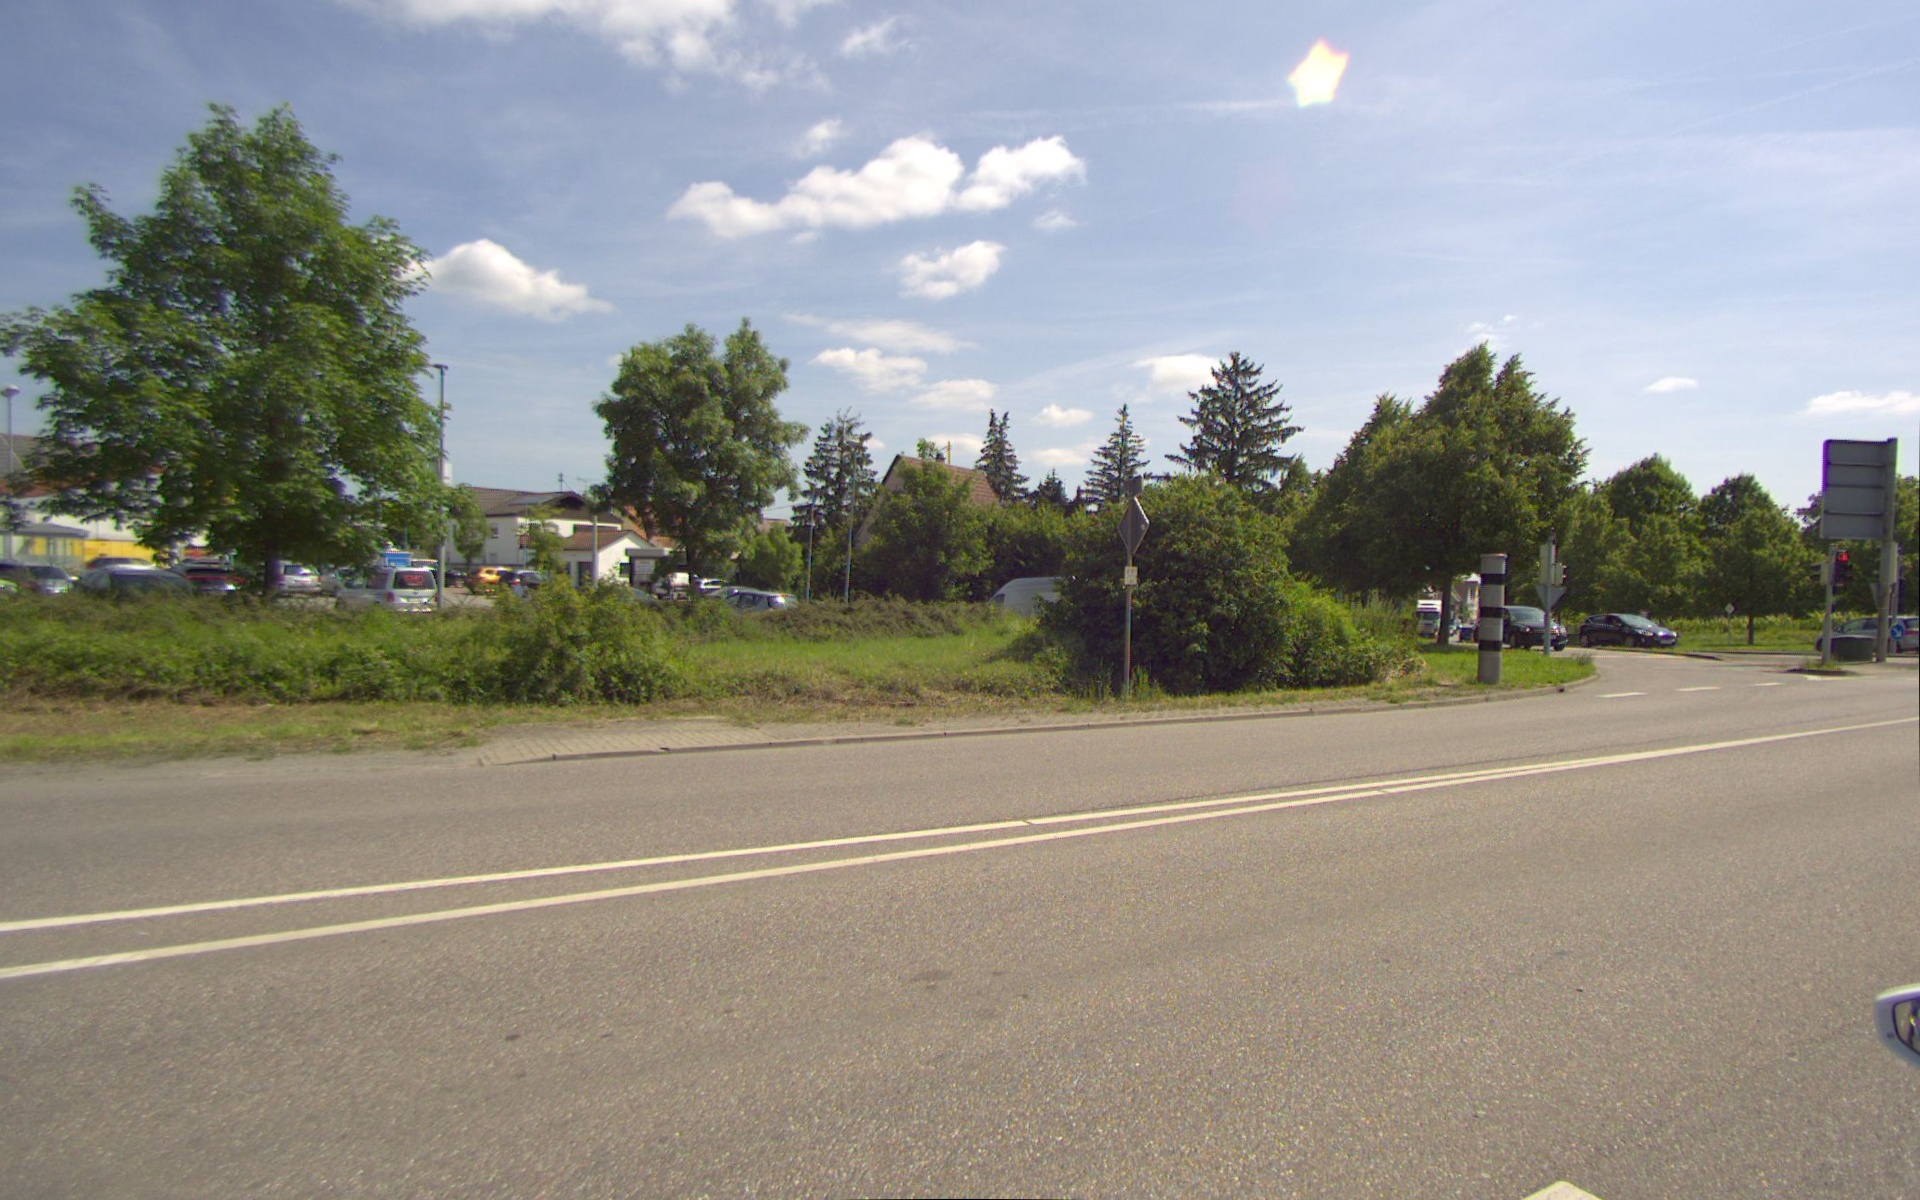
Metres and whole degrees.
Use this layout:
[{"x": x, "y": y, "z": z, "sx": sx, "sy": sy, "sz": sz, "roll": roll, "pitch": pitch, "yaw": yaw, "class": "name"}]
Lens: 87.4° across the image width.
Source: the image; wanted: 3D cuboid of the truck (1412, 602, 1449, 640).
[{"x": 50.581, "y": 2.215, "z": 107.798, "sx": 2.894, "sy": 3.848, "sz": 7.913, "roll": 2, "pitch": 0, "yaw": 30, "class": "truck"}]

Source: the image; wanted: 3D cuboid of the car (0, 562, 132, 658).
[{"x": -17.537, "y": 0.158, "z": 19.465, "sx": 3.941, "sy": 1.679, "sz": 1.686, "roll": 2, "pitch": 0, "yaw": 42, "class": "car"}]

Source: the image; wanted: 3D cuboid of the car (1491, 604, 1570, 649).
[{"x": 21.931, "y": 0.985, "z": 38.764, "sx": 1.774, "sy": 1.619, "sz": 4.270, "roll": 0, "pitch": -1, "yaw": 18, "class": "car"}]

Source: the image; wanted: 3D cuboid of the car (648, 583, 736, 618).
[{"x": -13.565, "y": 0.052, "z": 51.026, "sx": 1.883, "sy": 1.662, "sz": 3.984, "roll": 2, "pitch": 0, "yaw": 38, "class": "car"}]

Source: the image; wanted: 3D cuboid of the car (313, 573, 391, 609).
[{"x": -28.991, "y": -0.439, "z": 47.827, "sx": 4.193, "sy": 1.562, "sz": 1.871, "roll": 2, "pitch": 0, "yaw": 40, "class": "car"}]

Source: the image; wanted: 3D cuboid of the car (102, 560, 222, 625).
[{"x": -22.828, "y": -0.216, "z": 28.686, "sx": 3.939, "sy": 1.711, "sz": 1.918, "roll": 2, "pitch": 0, "yaw": 40, "class": "car"}]

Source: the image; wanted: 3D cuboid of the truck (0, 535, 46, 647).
[{"x": -22.991, "y": -0.237, "z": 20.335, "sx": 2.213, "sy": 2.407, "sz": 6.327, "roll": 1, "pitch": 0, "yaw": 36, "class": "truck"}]

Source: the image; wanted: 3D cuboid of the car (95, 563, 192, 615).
[{"x": -26.491, "y": -0.358, "z": 32.563, "sx": 3.941, "sy": 1.549, "sz": 1.770, "roll": 2, "pitch": 0, "yaw": 41, "class": "car"}]

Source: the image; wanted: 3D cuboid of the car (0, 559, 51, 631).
[{"x": -24.785, "y": -0.182, "z": 25.566, "sx": 3.939, "sy": 1.697, "sz": 1.903, "roll": 3, "pitch": 1, "yaw": 40, "class": "car"}]

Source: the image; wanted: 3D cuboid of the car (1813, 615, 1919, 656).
[{"x": 37.013, "y": 1.409, "z": 40.503, "sx": 1.509, "sy": 1.511, "sz": 4.003, "roll": 2, "pitch": 0, "yaw": -8, "class": "car"}]

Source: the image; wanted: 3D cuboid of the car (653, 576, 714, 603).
[{"x": -20.157, "y": -0.739, "z": 73.419, "sx": 1.866, "sy": 1.782, "sz": 3.988, "roll": 2, "pitch": 0, "yaw": 35, "class": "car"}]

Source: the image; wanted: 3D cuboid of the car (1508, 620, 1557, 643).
[{"x": 38.706, "y": 2.118, "z": 67.952, "sx": 1.642, "sy": 1.375, "sz": 3.863, "roll": 2, "pitch": 0, "yaw": 10, "class": "car"}]

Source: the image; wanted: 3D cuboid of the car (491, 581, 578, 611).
[{"x": -24.531, "y": -0.210, "z": 57.978, "sx": 1.849, "sy": 1.562, "sz": 4.243, "roll": 2, "pitch": 0, "yaw": 37, "class": "car"}]

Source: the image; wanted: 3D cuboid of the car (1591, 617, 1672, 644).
[{"x": 37.131, "y": 1.652, "z": 55.666, "sx": 1.707, "sy": 1.322, "sz": 4.282, "roll": 1, "pitch": 0, "yaw": 2, "class": "car"}]

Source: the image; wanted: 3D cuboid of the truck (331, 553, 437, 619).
[{"x": -22.321, "y": -0.541, "z": 38.925, "sx": 3.932, "sy": 2.397, "sz": 1.994, "roll": 2, "pitch": 0, "yaw": 34, "class": "truck"}]

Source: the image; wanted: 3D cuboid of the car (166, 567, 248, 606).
[{"x": -32.380, "y": -0.591, "z": 43.173, "sx": 4.193, "sy": 1.562, "sz": 1.871, "roll": 2, "pitch": 0, "yaw": 40, "class": "car"}]

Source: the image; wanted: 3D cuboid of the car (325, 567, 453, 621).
[{"x": -19.297, "y": -0.221, "z": 33.896, "sx": 4.353, "sy": 1.717, "sz": 1.994, "roll": 1, "pitch": 0, "yaw": 34, "class": "car"}]

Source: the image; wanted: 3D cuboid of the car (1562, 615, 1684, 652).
[{"x": 26.786, "y": 1.323, "z": 40.745, "sx": 1.710, "sy": 1.322, "sz": 4.274, "roll": 1, "pitch": 0, "yaw": -8, "class": "car"}]

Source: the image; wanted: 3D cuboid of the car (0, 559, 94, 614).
[{"x": -28.206, "y": -0.431, "z": 30.748, "sx": 3.936, "sy": 1.549, "sz": 1.772, "roll": 2, "pitch": 0, "yaw": 37, "class": "car"}]

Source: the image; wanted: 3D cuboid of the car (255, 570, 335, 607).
[{"x": -30.269, "y": -0.517, "z": 45.684, "sx": 4.193, "sy": 1.562, "sz": 1.871, "roll": 2, "pitch": 0, "yaw": 40, "class": "car"}]

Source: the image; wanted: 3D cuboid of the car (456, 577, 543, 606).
[{"x": -27.109, "y": -0.498, "z": 59.233, "sx": 1.849, "sy": 1.562, "sz": 4.243, "roll": 2, "pitch": 0, "yaw": 37, "class": "car"}]

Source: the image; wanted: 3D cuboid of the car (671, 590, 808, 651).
[{"x": -7.061, "y": 0.632, "z": 32.203, "sx": 3.928, "sy": 1.751, "sz": 1.997, "roll": 2, "pitch": 0, "yaw": 29, "class": "car"}]

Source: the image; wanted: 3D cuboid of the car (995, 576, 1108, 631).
[{"x": 3.946, "y": 0.133, "z": 43.679, "sx": 4.524, "sy": 2.209, "sz": 1.992, "roll": 2, "pitch": 1, "yaw": 37, "class": "car"}]
